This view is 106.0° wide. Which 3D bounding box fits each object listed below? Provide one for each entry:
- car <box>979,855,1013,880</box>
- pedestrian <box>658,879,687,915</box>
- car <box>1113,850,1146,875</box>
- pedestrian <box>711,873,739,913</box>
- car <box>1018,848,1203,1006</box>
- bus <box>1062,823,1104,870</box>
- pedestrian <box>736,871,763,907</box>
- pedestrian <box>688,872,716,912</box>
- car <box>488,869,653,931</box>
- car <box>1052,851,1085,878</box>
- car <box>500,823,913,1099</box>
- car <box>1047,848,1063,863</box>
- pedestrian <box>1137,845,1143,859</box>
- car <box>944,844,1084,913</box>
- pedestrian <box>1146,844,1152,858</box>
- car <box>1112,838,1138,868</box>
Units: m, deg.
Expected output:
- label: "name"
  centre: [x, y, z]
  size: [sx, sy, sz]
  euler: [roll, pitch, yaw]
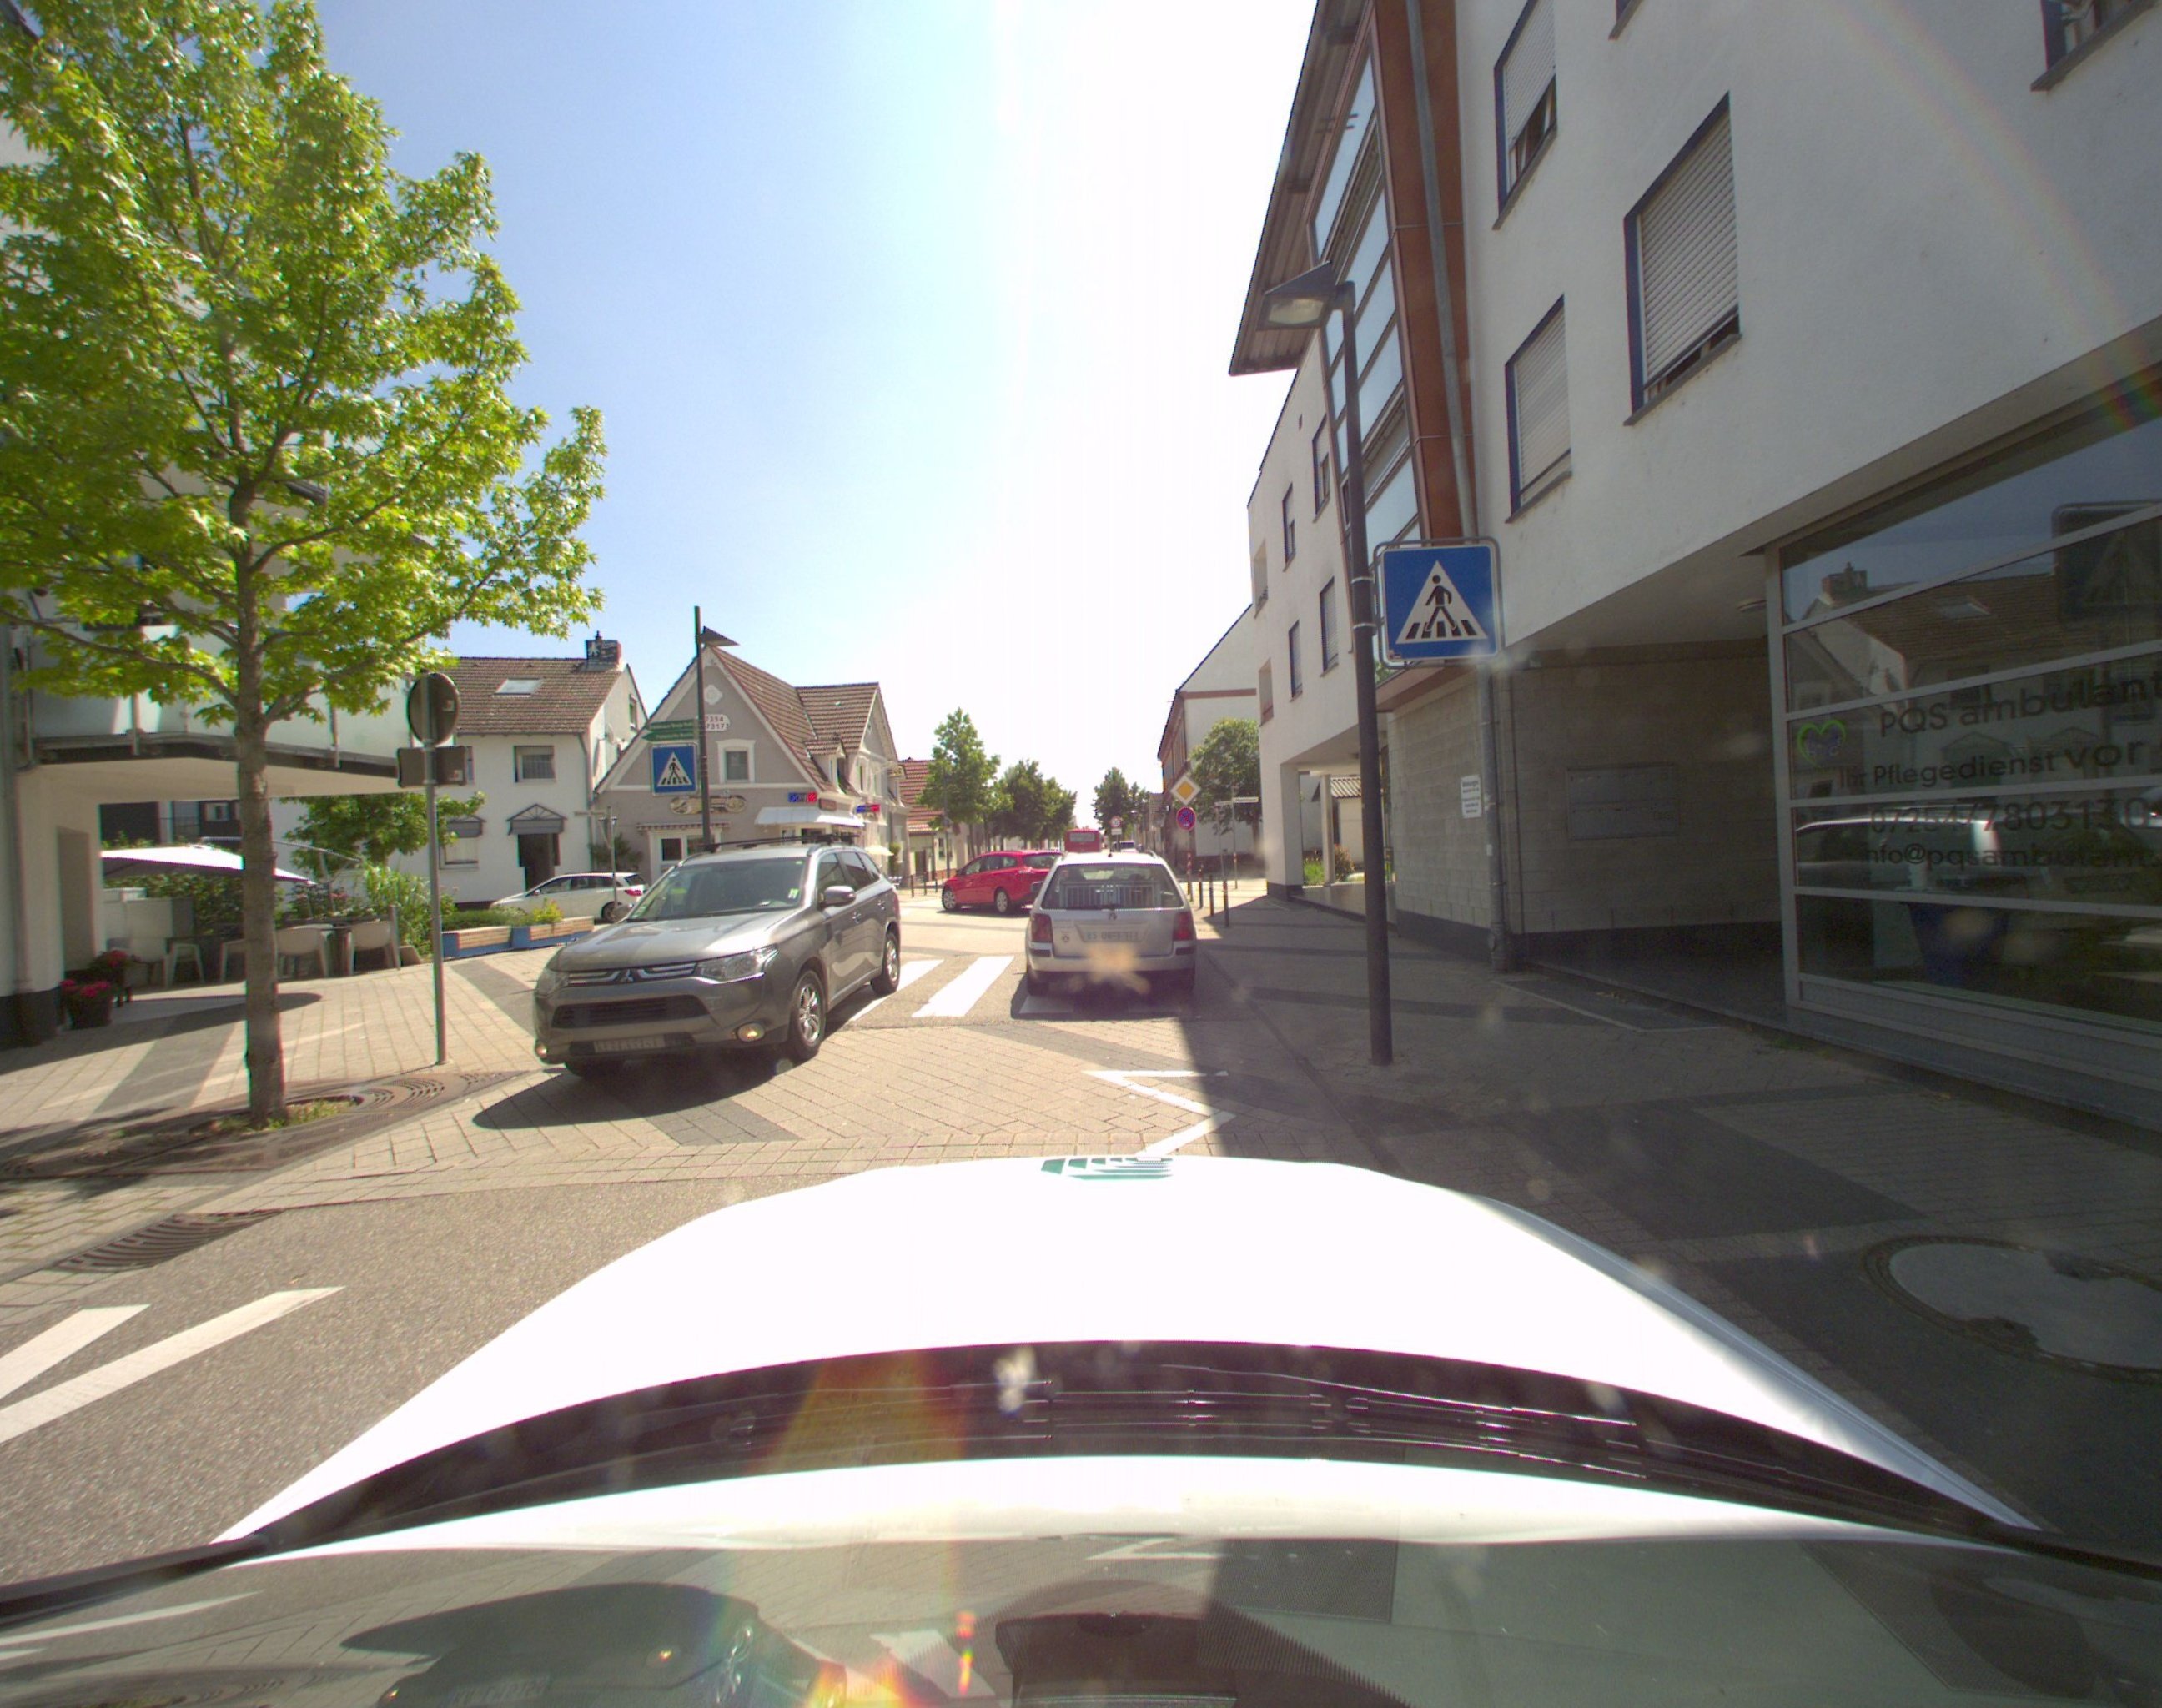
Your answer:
- label: "car"
  centre: [-5.370, 0.823, 51.756]
  size: [1.599, 1.438, 4.066]
  euler: [-3, 0, 1]
- label: "pedestrian"
  centre: [-13.291, 1.403, 26.493]
  size: [0.639, 1.116, 0.780]
  euler: [0, 0, -42]
- label: "car"
  centre: [2.729, 0.442, 46.791]
  size: [1.713, 1.309, 3.627]
  euler: [-3, 0, 1]
- label: "pedestrian"
  centre: [-11.801, 1.273, 27.015]
  size: [0.639, 1.289, 0.780]
  euler: [0, 0, -42]
- label: "car"
  centre: [0.325, 0.657, 9.258]
  size: [1.670, 1.430, 3.681]
  euler: [-1, 0, 2]
- label: "bus"
  centre: [0.342, -0.535, 64.944]
  size: [2.729, 3.298, 12.713]
  euler: [-2, 0, 2]
- label: "pedestrian"
  centre: [-11.454, 1.198, 28.148]
  size: [0.620, 1.179, 0.696]
  euler: [-3, 0, -3]
- label: "pedestrian"
  centre: [-12.718, 1.264, 27.318]
  size: [0.639, 1.289, 0.780]
  euler: [0, 0, -42]
- label: "car"
  centre: [-15.481, 1.357, 24.908]
  size: [3.923, 1.545, 1.510]
  euler: [-3, 2, -15]
- label: "car"
  centre: [-0.667, 0.572, 45.603]
  size: [1.587, 1.430, 3.682]
  euler: [-1, 0, 3]
- label: "car"
  centre: [-2.873, 0.686, 7.421]
  size: [1.669, 1.716, 4.233]
  euler: [-3, 0, 1]
- label: "car"
  centre: [-3.338, 0.223, 104.334]
  size: [1.714, 1.802, 4.001]
  euler: [-3, 0, 2]
- label: "pedestrian"
  centre: [6.964, -0.262, 96.661]
  size: [0.604, 1.667, 0.789]
  euler: [-3, 0, 0]
- label: "car"
  centre: [-1.697, 0.570, 19.607]
  size: [1.690, 1.430, 3.639]
  euler: [-3, 0, -35]
- label: "pedestrian"
  centre: [8.061, -0.352, 96.250]
  size: [0.604, 1.667, 0.789]
  euler: [-3, 0, 0]
- label: "car"
  centre: [3.326, -0.076, 62.069]
  size: [1.781, 2.082, 3.627]
  euler: [-3, 0, 1]
